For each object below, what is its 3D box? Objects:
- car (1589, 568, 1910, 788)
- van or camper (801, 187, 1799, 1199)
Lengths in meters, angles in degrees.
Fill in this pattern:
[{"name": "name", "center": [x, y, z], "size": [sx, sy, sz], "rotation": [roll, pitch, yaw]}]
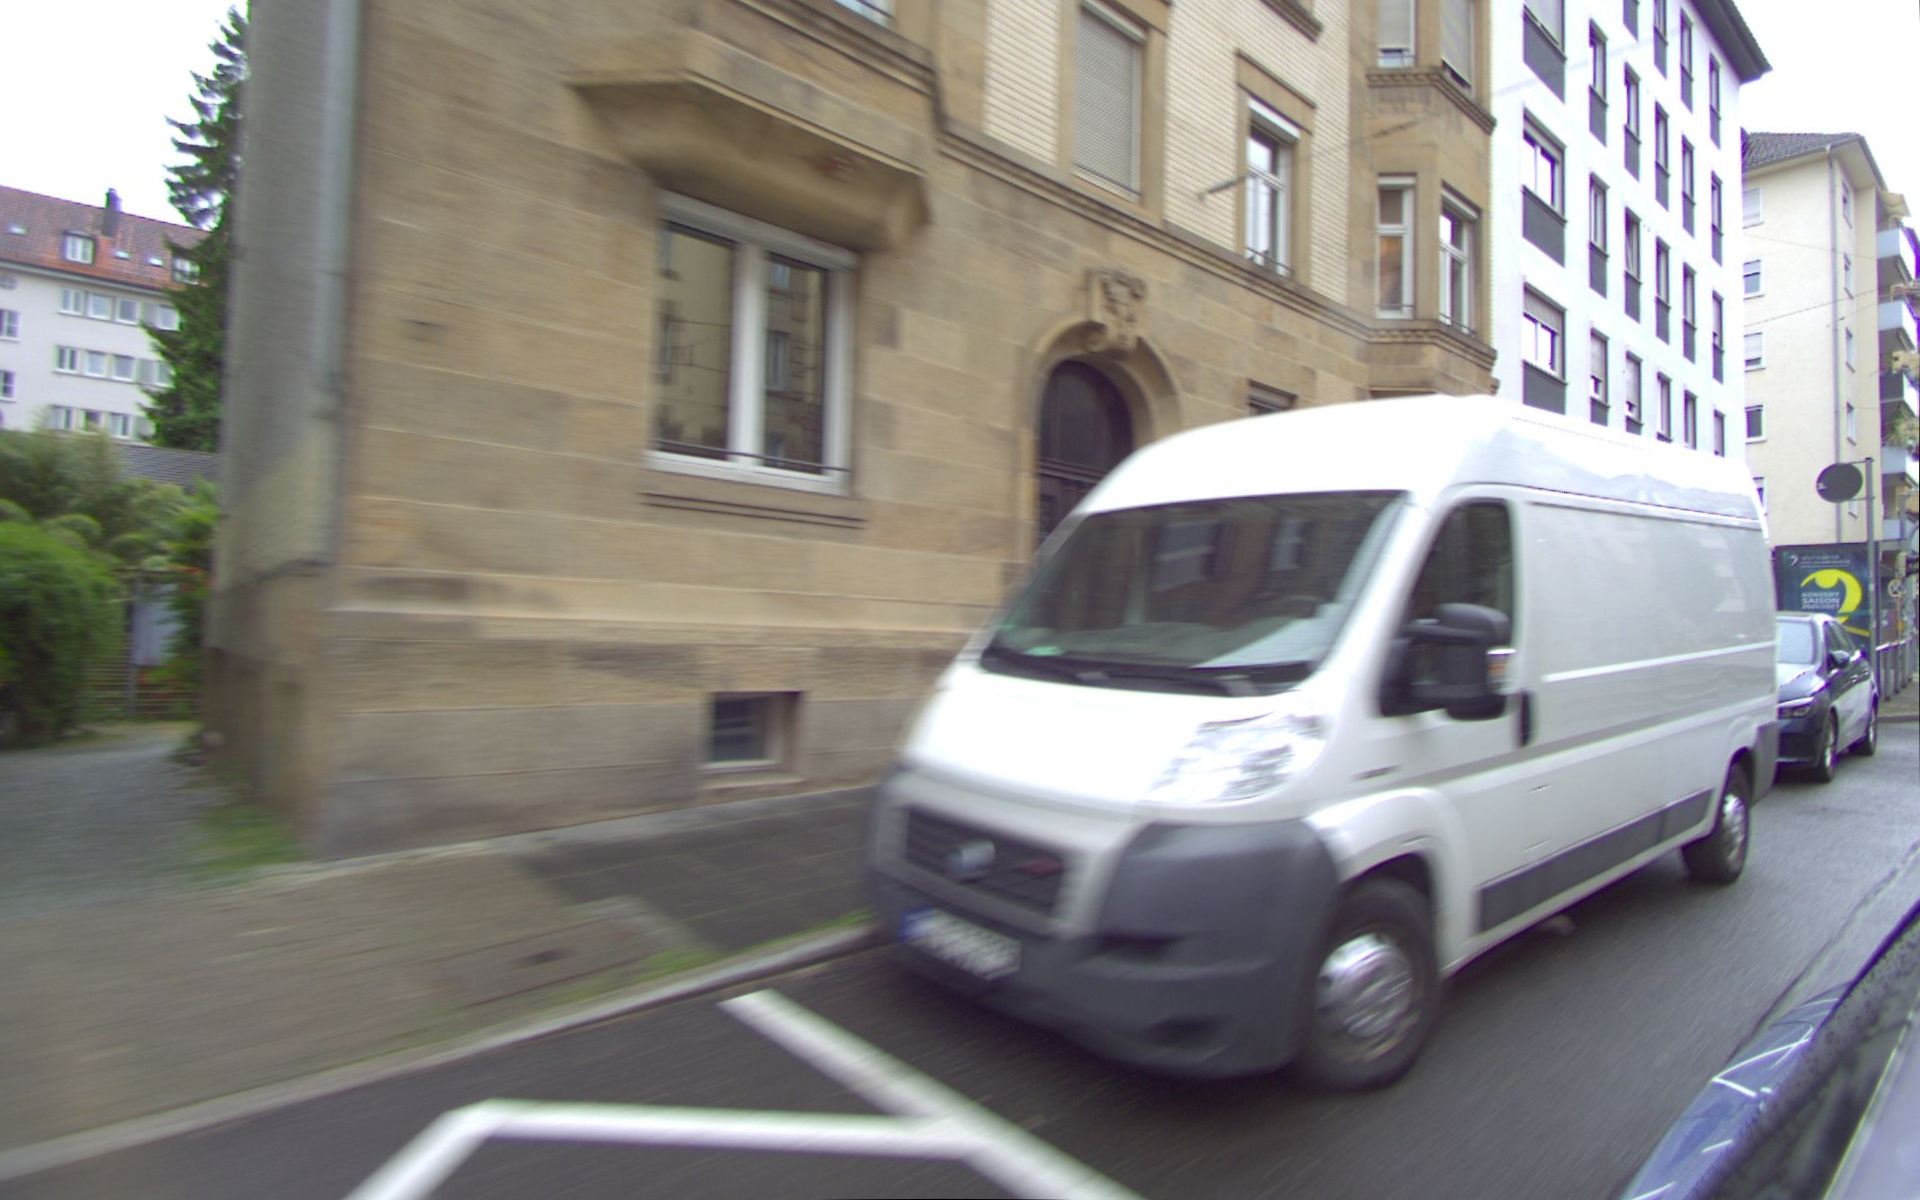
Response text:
[{"name": "car", "center": [8.345, 0.694, 10.544], "size": [4.403, 1.831, 1.771], "rotation": [1, -2, -41]}, {"name": "van or camper", "center": [2.315, 0.264, 5.202], "size": [6.010, 2.500, 2.068], "rotation": [1, -1, -40]}]
